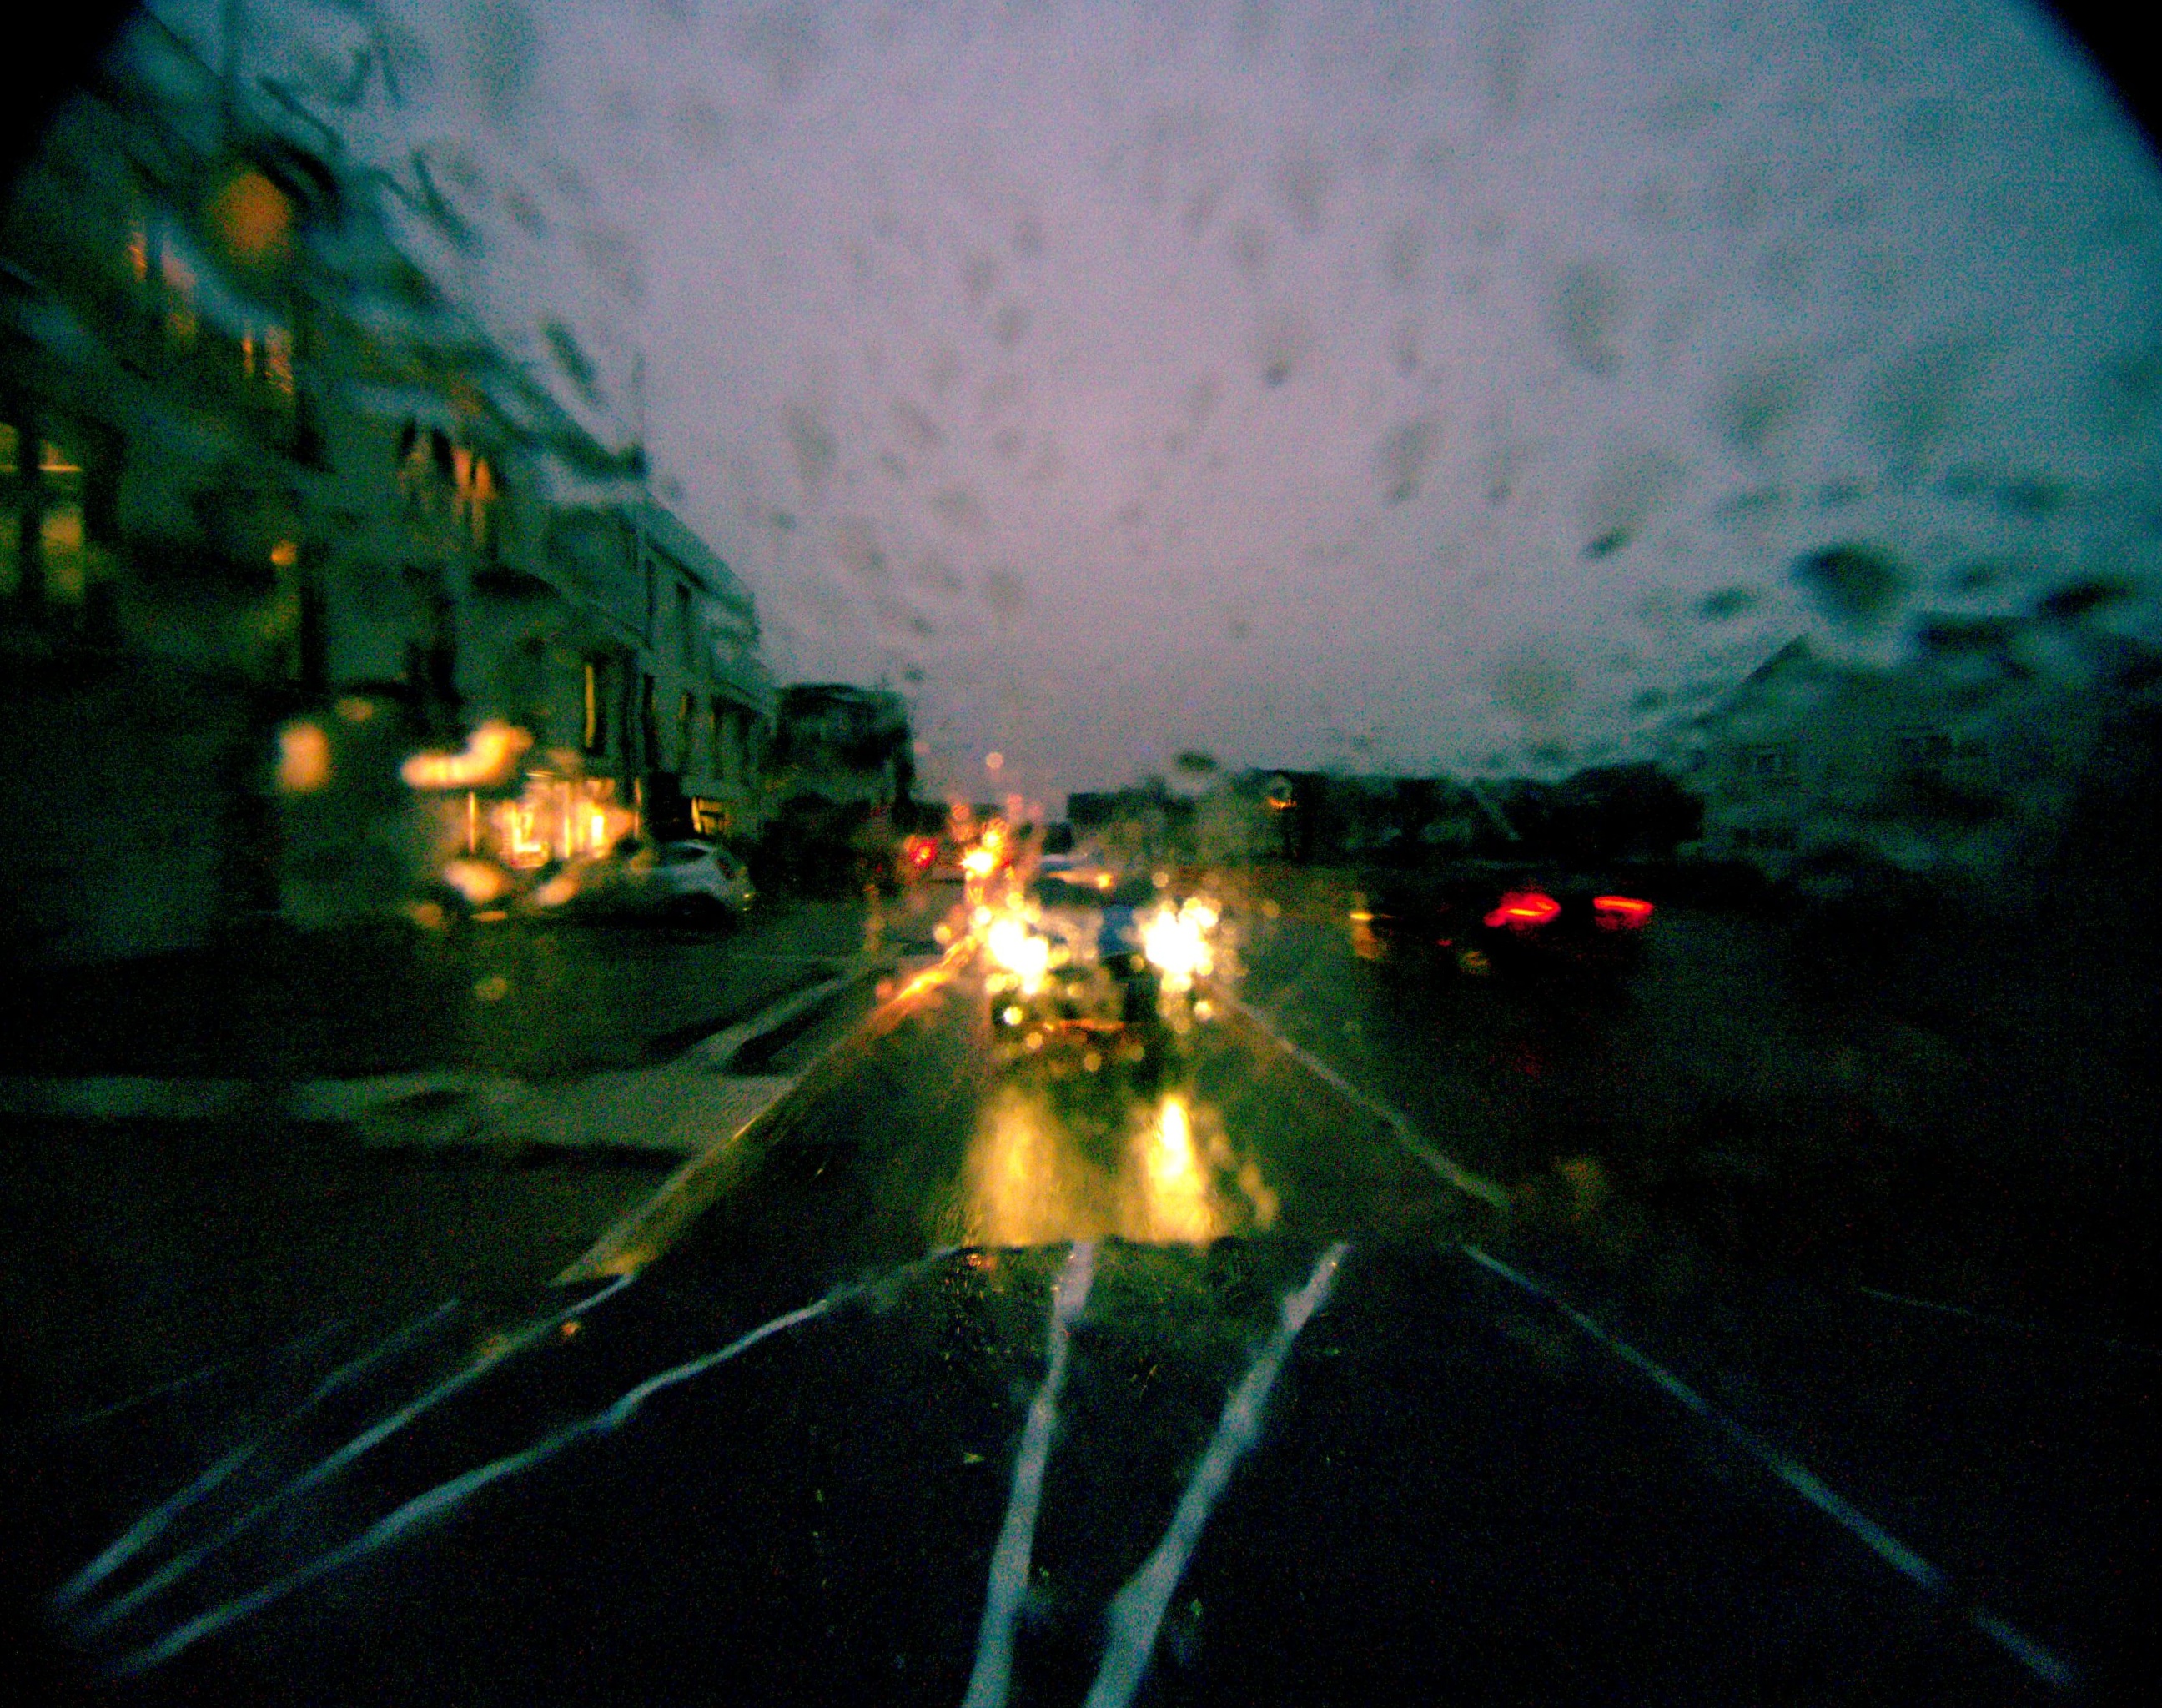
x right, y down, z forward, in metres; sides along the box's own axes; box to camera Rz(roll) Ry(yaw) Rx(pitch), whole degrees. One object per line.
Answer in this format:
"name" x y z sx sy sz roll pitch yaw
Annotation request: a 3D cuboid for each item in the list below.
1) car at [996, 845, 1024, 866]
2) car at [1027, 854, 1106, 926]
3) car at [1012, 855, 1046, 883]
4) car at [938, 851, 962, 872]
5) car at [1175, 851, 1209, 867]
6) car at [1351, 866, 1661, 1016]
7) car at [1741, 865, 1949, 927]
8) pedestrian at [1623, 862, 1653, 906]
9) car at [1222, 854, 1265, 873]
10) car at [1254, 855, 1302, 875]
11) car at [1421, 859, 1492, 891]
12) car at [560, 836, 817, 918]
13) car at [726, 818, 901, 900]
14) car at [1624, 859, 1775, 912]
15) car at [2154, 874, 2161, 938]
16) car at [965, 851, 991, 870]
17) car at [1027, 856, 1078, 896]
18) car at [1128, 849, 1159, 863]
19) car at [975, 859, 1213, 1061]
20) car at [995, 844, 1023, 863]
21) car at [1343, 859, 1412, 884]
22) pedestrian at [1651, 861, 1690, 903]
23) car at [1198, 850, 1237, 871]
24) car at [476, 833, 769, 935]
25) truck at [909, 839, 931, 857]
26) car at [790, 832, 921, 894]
"car" -6.265 0.097 66.898 1.726 1.802 4.130 0 1 -16
"car" -0.456 0.824 18.957 1.682 1.614 3.998 0 0 -5
"car" -2.944 0.785 42.379 1.742 1.434 3.997 -1 1 -6
"car" -10.536 0.578 61.375 1.849 1.577 3.765 1 0 -9
"car" 10.975 0.513 75.302 1.678 1.460 4.010 3 -1 -19
"car" 4.882 0.888 9.287 1.509 1.403 3.363 0 1 -10
"car" 22.447 1.161 22.576 1.780 1.560 4.090 0 1 -8
"pedestrian" 16.737 0.884 22.842 0.512 1.294 0.601 0 1 -39
"car" 13.888 0.799 65.047 1.801 1.460 4.251 1 1 -15
"car" 15.471 0.856 59.826 1.801 1.460 4.251 1 1 -15
"car" 19.675 1.078 39.997 1.479 1.500 3.499 1 1 -12
"car" -8.330 0.463 16.522 4.522 1.484 1.973 3 1 -6
"car" -8.091 0.156 23.393 4.553 1.922 1.974 7 0 -6
"car" 21.781 1.054 26.970 1.704 1.651 3.955 0 1 -11
"car" 30.616 1.502 19.607 4.001 1.673 1.715 3 2 -10
"car" -8.860 0.556 65.075 1.836 1.535 3.709 -1 1 -14
"car" -1.185 0.826 30.015 1.573 1.460 3.613 -1 0 -9
"car" 7.116 0.242 86.630 1.802 1.460 4.607 1 1 -19
"car" -0.025 0.859 8.018 1.889 1.569 3.999 0 -1 -4
"car" -8.011 -0.064 84.092 2.002 2.002 3.992 -1 1 -21
"car" 18.488 1.069 47.589 1.801 1.460 4.251 1 1 -15
"pedestrian" 17.771 0.834 22.916 0.693 1.242 0.602 0 1 -6
"car" 12.468 0.535 69.740 1.801 1.816 4.251 1 1 -16
"car" -7.833 0.498 13.391 4.002 1.495 1.811 3 2 -12
"truck" -20.443 -0.736 96.182 2.250 2.218 6.094 0 1 -17
"car" -7.965 0.327 27.171 4.153 1.625 1.753 8 -1 -11
